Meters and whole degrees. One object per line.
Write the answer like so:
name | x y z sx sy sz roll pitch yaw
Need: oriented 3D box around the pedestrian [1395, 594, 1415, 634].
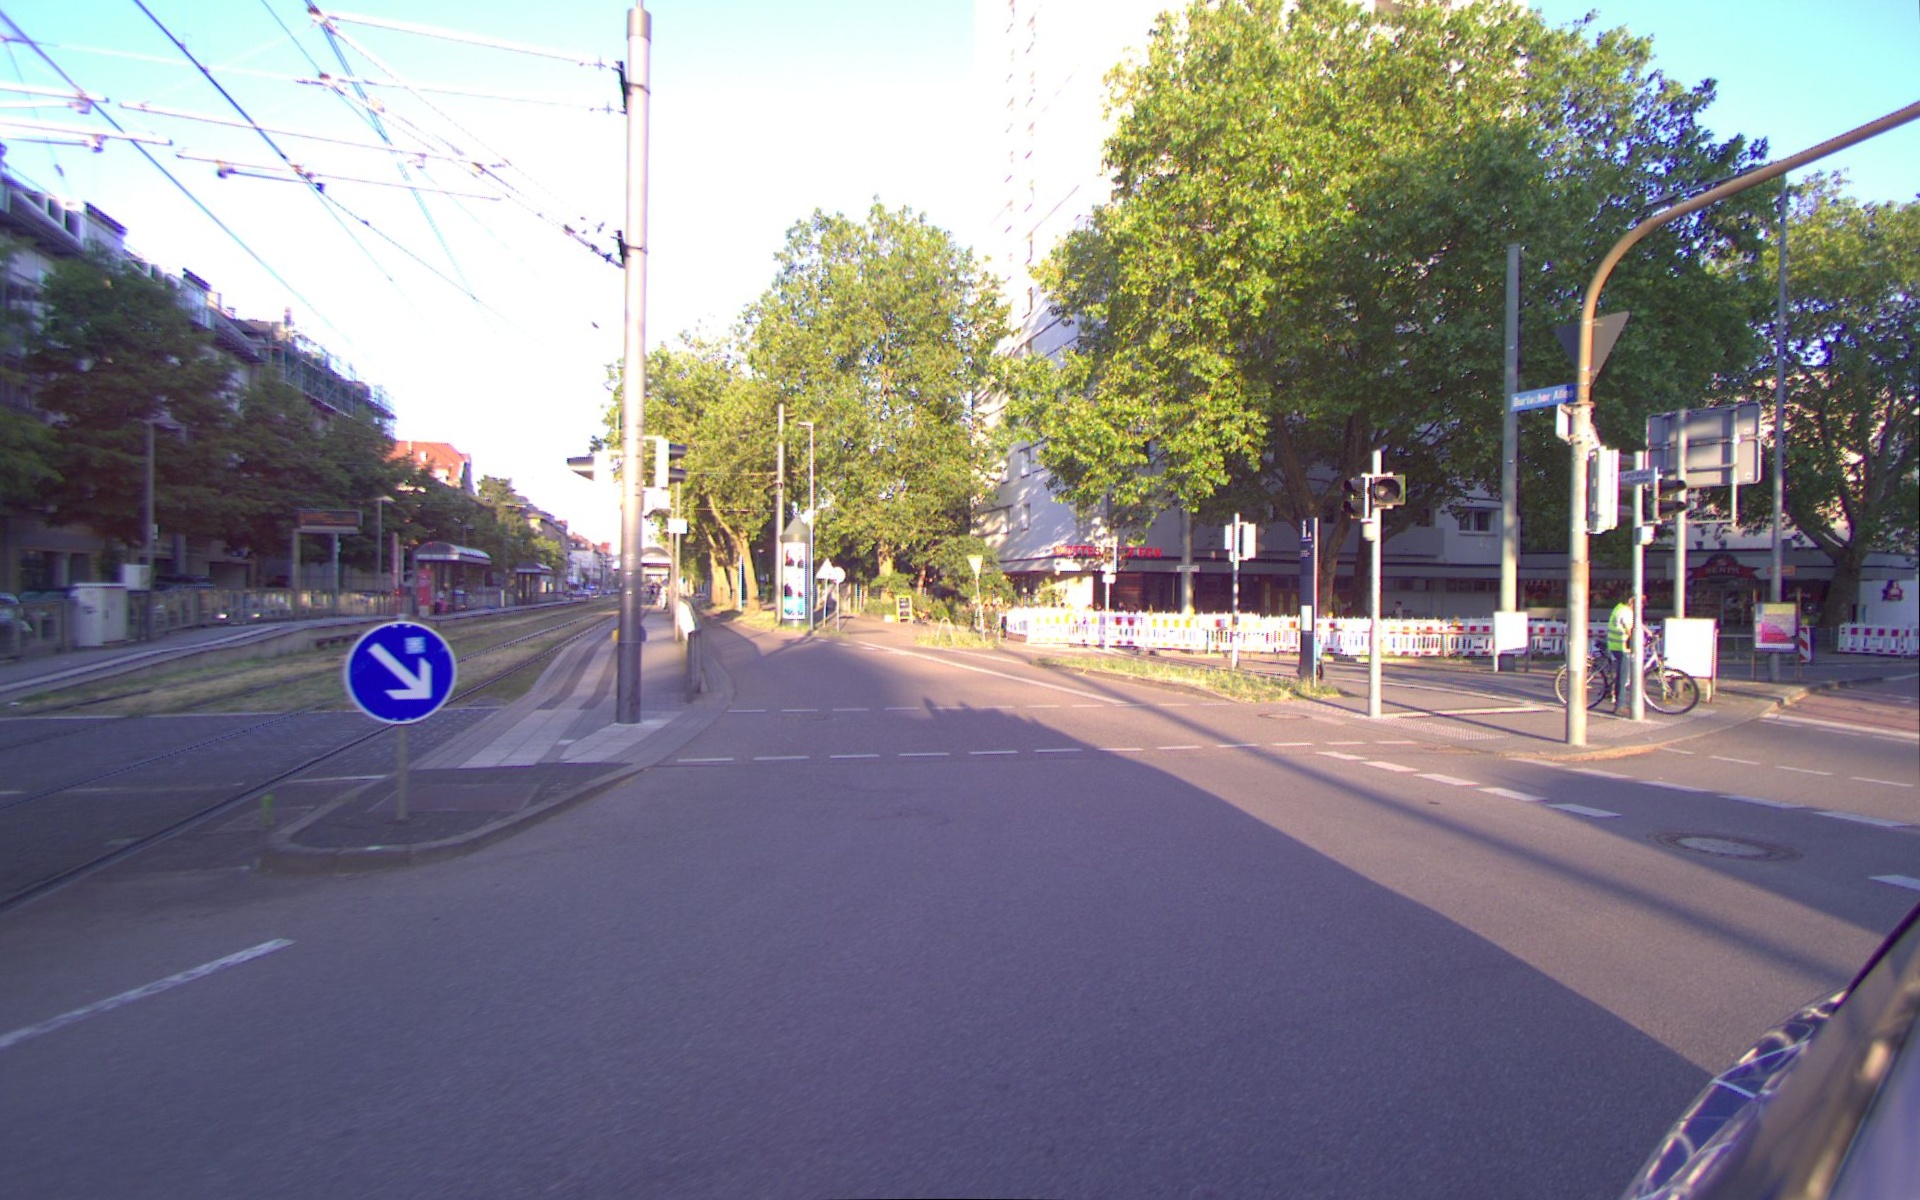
pedestrian | 18.287 0.580 41.575 0.636 1.609 0.738 -1 -1 33

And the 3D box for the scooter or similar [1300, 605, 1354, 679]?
scooter or similar | 6.575 0.730 18.191 0.506 1.265 1.234 -1 0 0

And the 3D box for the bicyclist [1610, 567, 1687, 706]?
bicyclist | 9.466 0.488 13.935 0.689 1.847 0.624 -1 -1 19

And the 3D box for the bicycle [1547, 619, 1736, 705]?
bicycle | 9.350 0.836 13.968 2.045 1.123 0.624 -1 0 19

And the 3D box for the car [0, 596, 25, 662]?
car | -22.704 0.676 22.178 1.811 1.505 4.008 -1 0 -19

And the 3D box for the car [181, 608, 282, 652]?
car | -27.482 1.098 38.324 1.811 1.505 4.008 -1 0 -15
